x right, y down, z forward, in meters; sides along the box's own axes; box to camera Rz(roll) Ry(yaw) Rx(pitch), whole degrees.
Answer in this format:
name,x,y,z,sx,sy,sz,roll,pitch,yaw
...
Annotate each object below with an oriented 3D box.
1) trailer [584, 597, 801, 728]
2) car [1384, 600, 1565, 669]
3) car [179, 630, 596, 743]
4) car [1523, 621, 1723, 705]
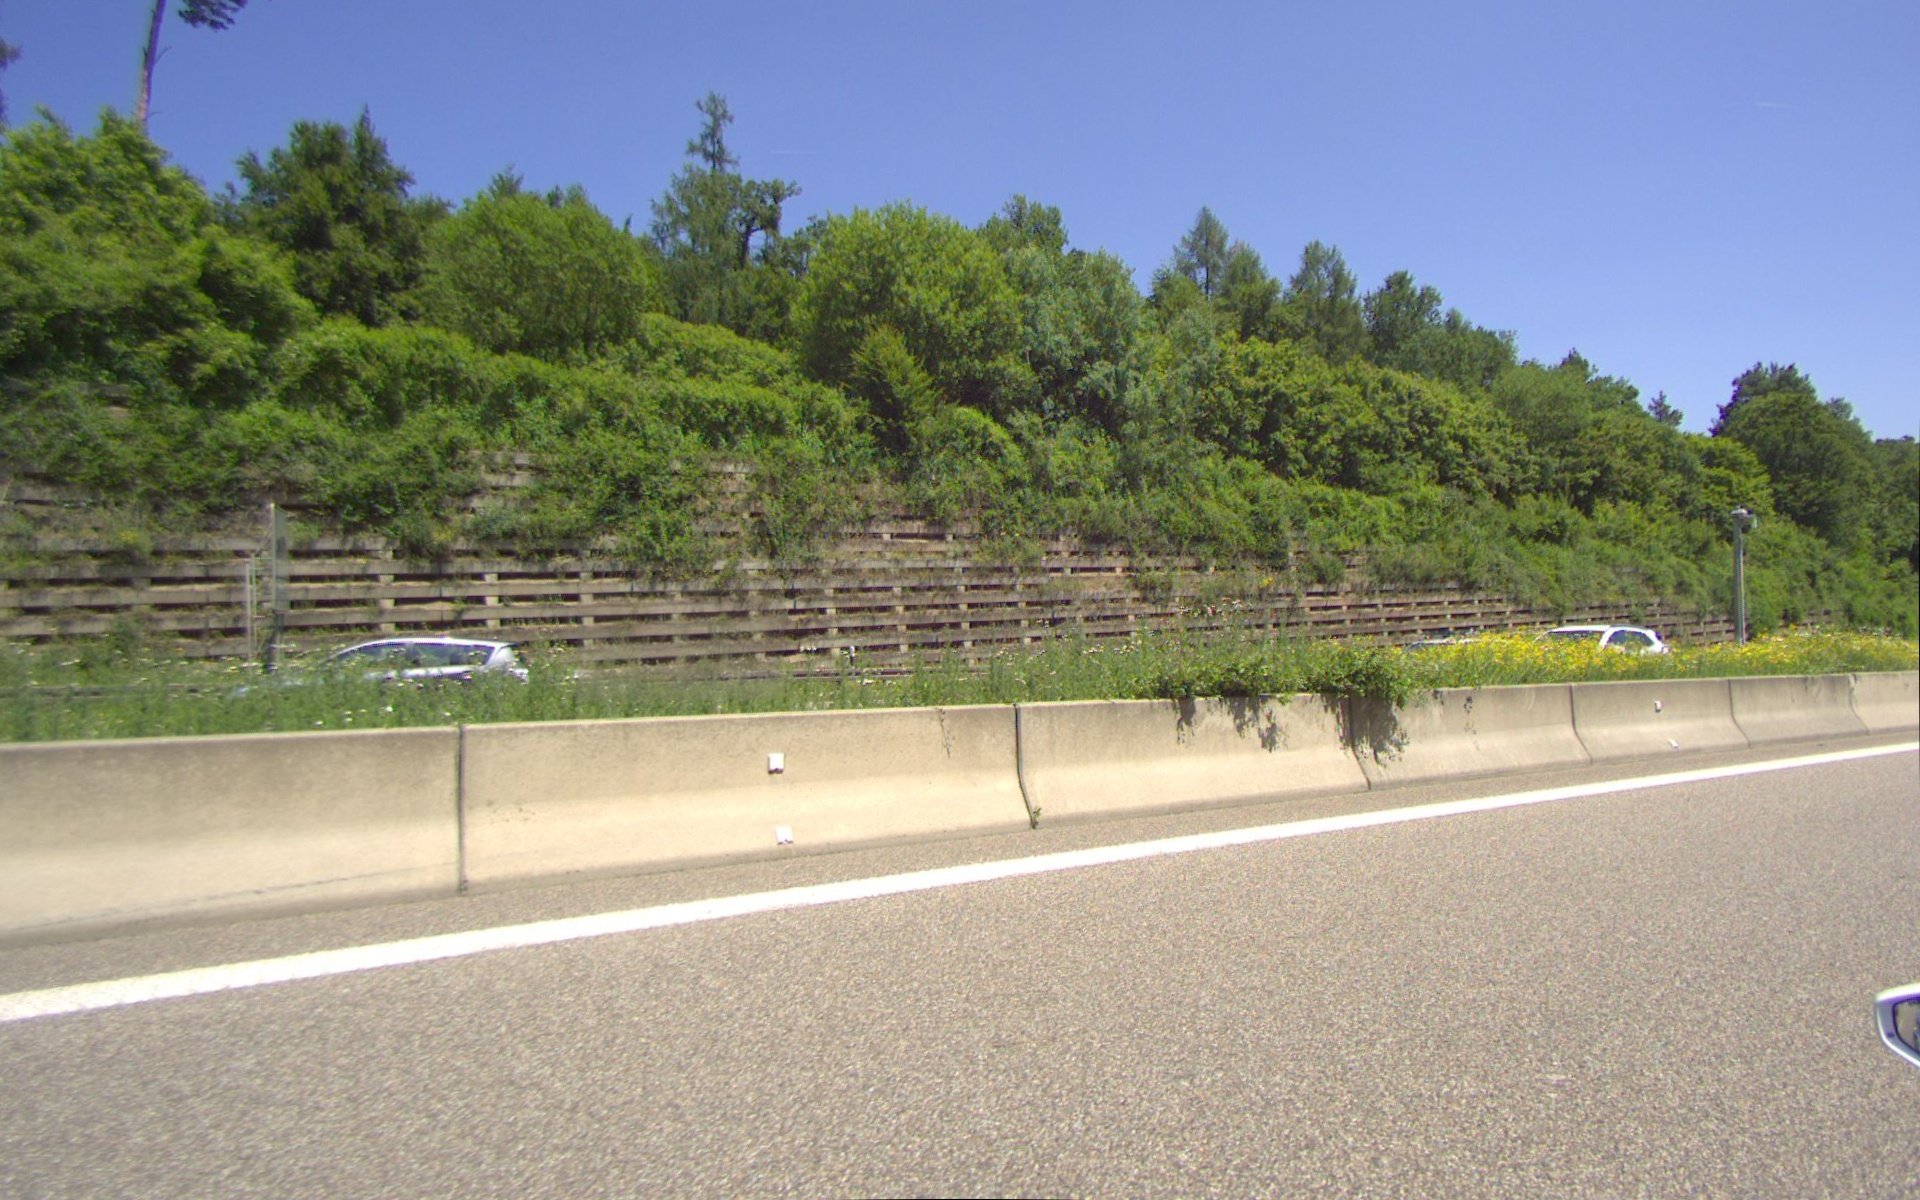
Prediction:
name,x,y,z,sx,sy,sz,roll,pitch,yaw
trailer,-4.818,1.065,18.117,3.452,2.145,1.887,1,-2,-29
car,12.452,0.825,24.262,4.152,1.542,1.929,1,-2,-29
car,-8.758,1.242,15.897,5.409,1.542,1.929,1,-2,-29
car,13.421,1.216,20.298,4.155,1.542,1.779,1,-2,-31
